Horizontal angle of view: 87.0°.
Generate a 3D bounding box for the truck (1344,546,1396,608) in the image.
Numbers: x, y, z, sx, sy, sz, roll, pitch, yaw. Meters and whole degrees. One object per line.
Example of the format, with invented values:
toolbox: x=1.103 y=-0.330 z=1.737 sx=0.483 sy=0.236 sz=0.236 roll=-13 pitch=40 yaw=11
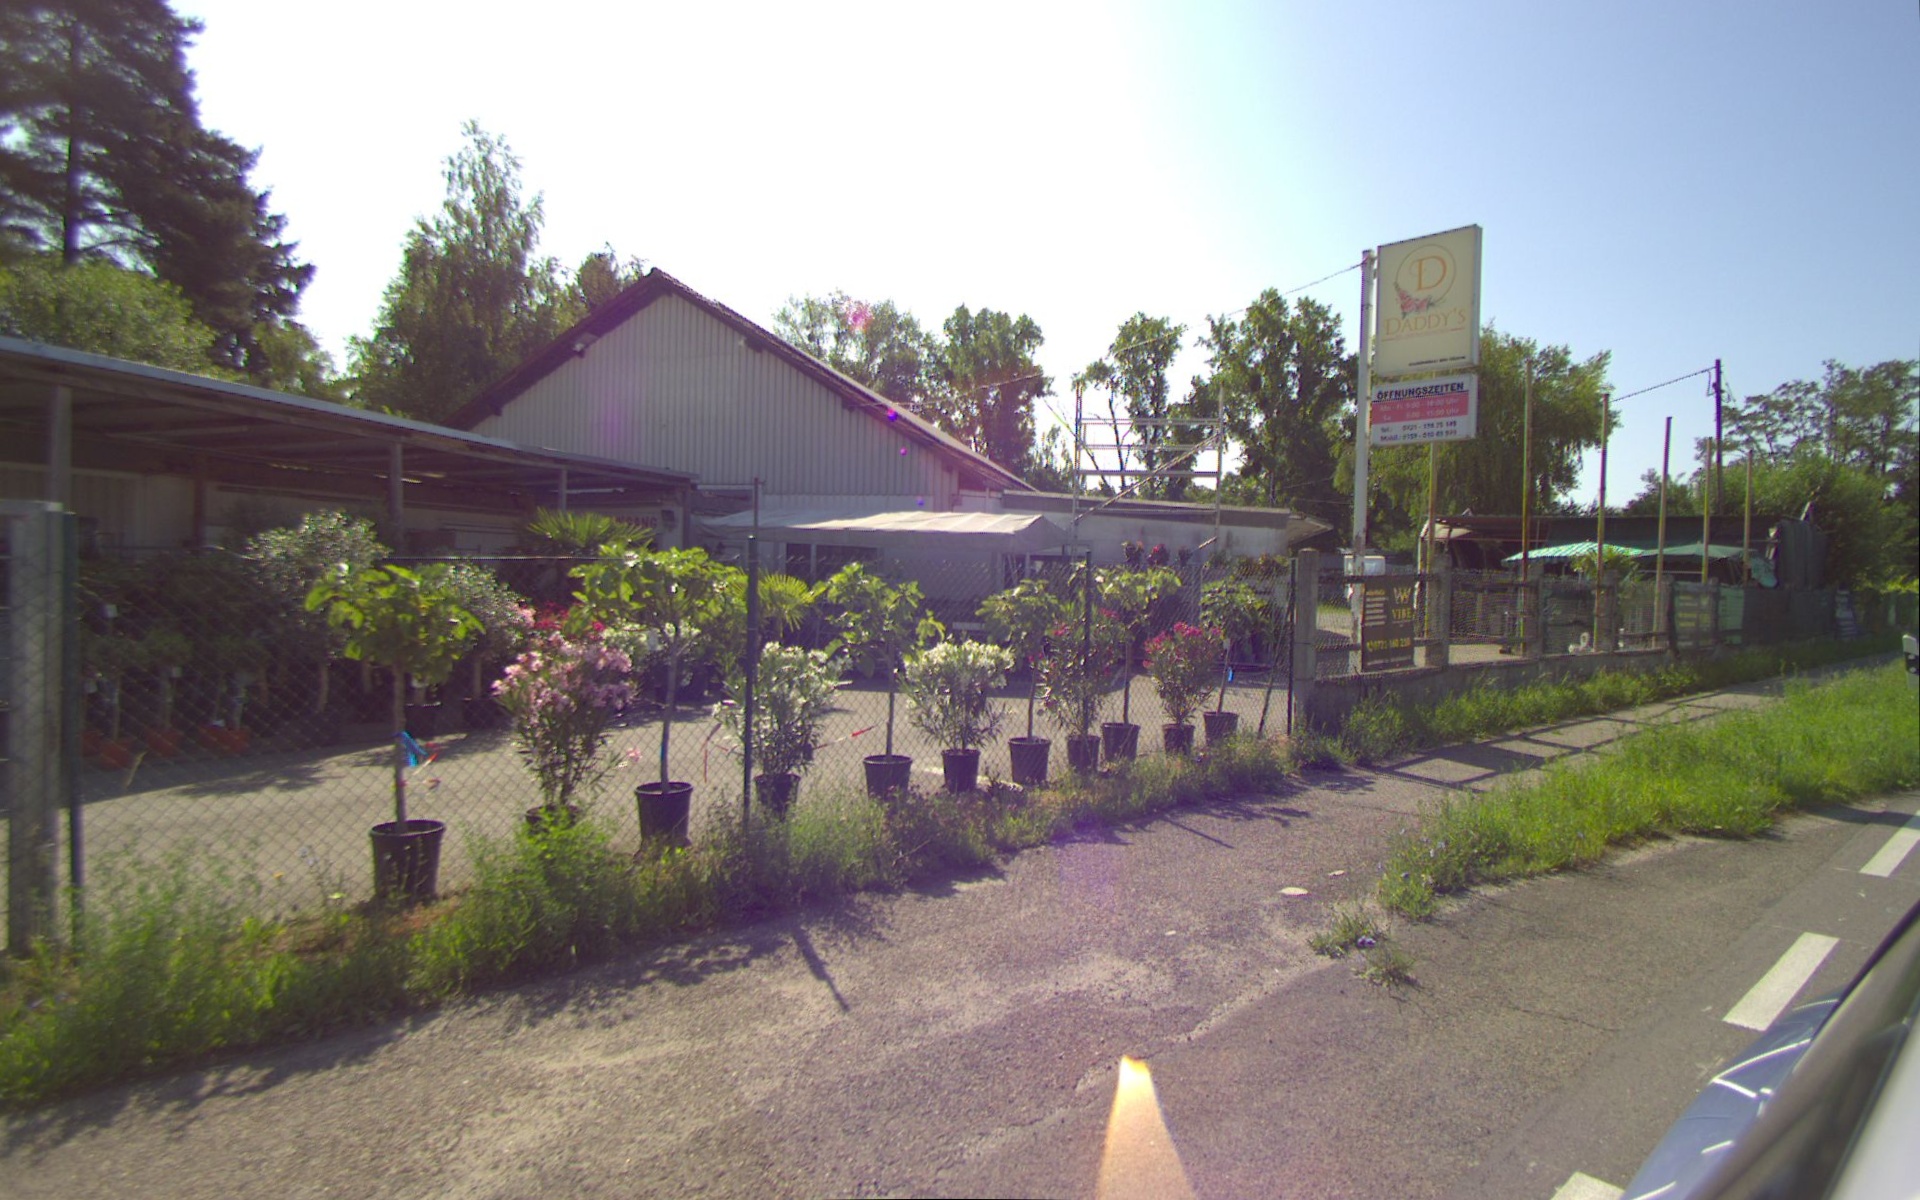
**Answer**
truck: x=24.925 y=-1.342 z=61.521 sx=2.721 sy=3.507 sz=7.692 roll=0 pitch=0 yaw=22
